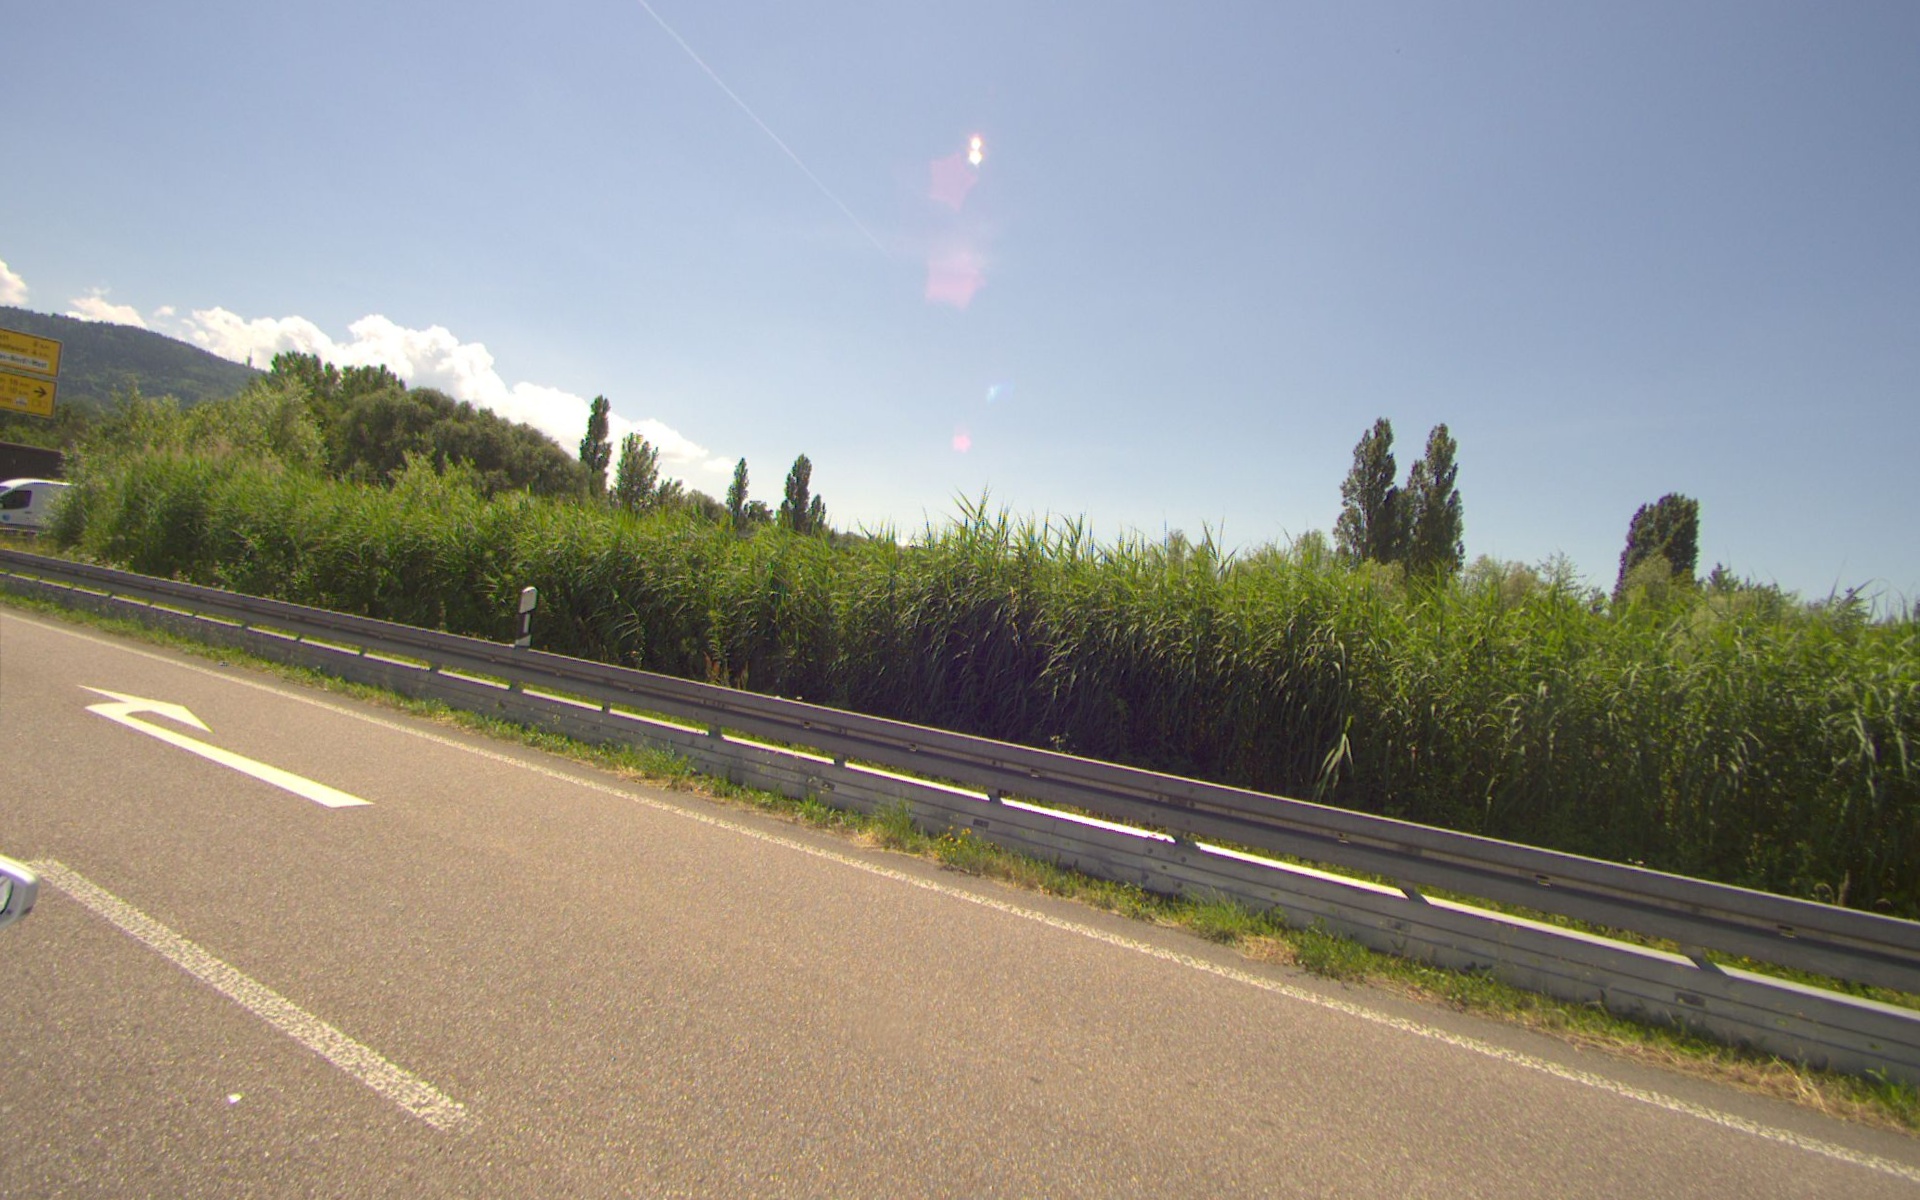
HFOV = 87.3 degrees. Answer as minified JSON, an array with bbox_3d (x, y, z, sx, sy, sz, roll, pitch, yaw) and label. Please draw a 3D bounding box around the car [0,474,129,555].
[{"bbox_3d":[-35.166,-3.328,37.944,2.005,2.479,5.356,7,-1,29],"label":"car"}]
